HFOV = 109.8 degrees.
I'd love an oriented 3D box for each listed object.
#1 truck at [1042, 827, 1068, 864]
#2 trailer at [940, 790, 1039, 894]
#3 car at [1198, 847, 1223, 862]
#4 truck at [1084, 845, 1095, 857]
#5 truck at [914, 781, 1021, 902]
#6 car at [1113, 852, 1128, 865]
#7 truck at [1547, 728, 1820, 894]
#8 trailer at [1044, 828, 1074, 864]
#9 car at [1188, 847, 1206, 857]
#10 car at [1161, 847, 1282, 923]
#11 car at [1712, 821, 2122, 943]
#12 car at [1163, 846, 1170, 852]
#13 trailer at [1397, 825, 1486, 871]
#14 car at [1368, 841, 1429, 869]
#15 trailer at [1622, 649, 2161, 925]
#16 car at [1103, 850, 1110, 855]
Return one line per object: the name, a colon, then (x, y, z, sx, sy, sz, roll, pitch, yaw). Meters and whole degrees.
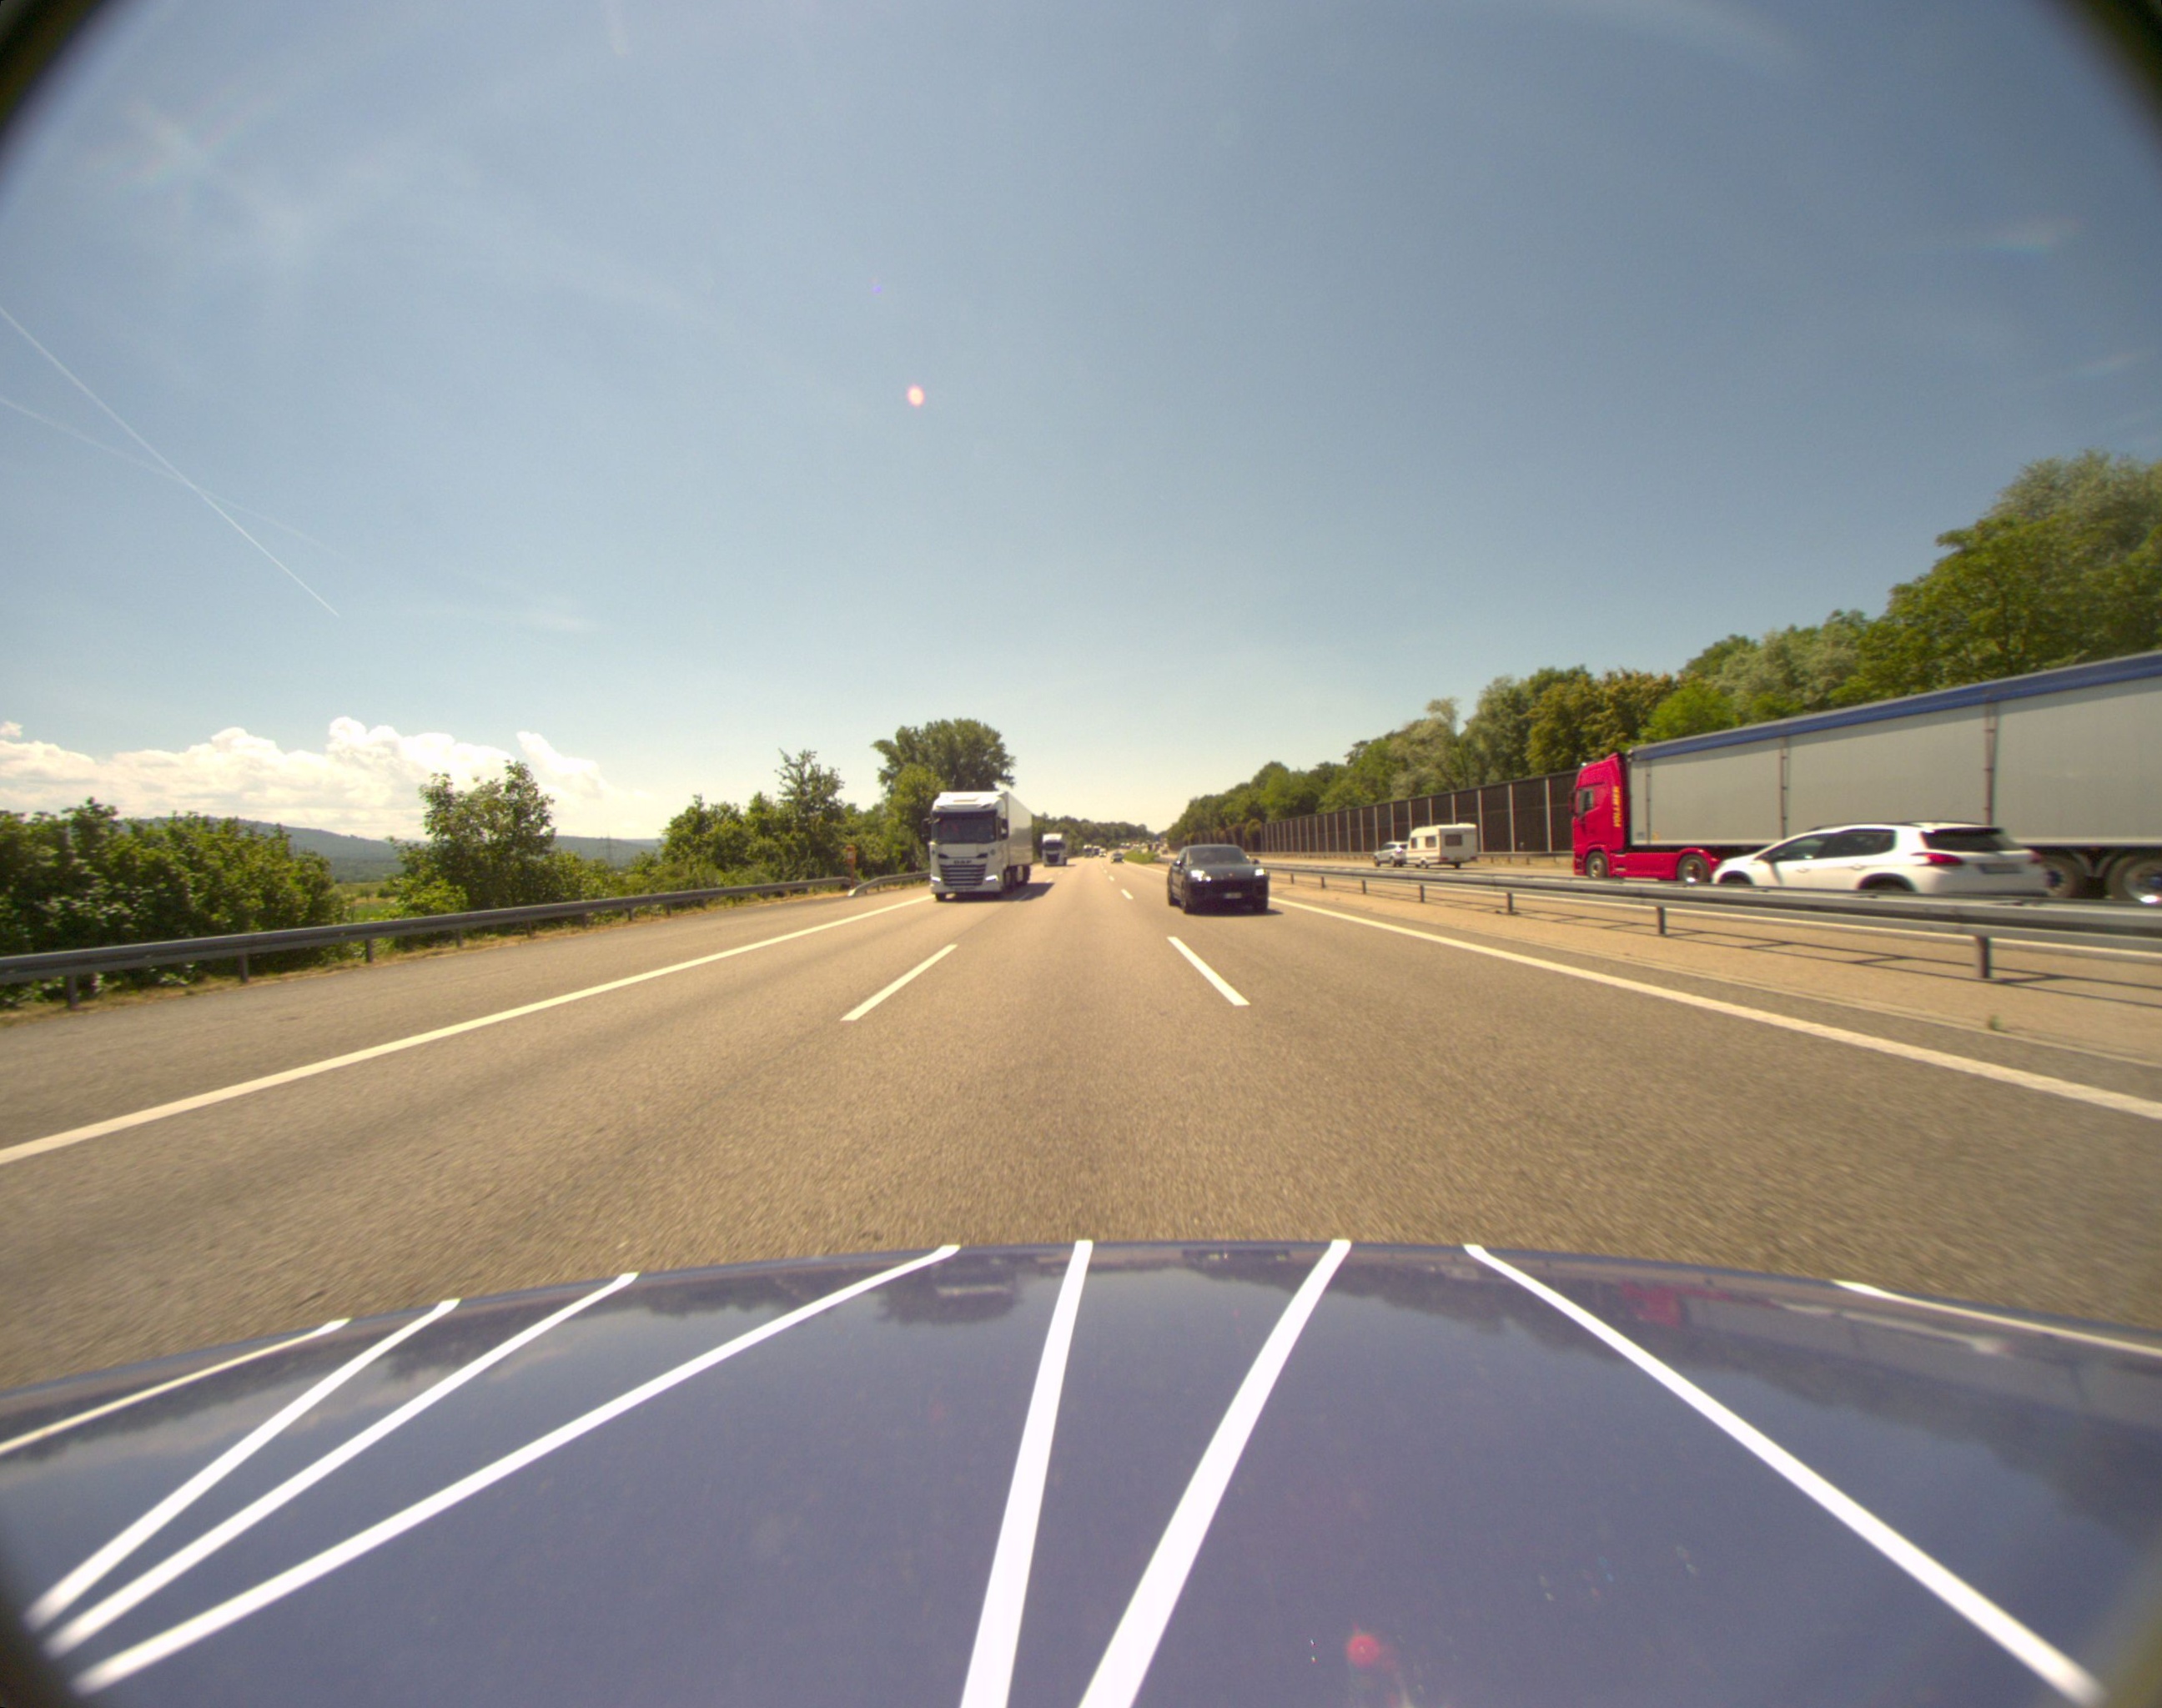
truck: (-3.219, -1.030, 95.727, 2.541, 4.446, 5.573, -2, 1, 4)
trailer: (-4.012, -0.486, 36.693, 2.966, 4.082, 12.532, -2, 0, 1)
car: (13.911, 0.051, 81.707, 1.904, 1.512, 4.418, -2, 0, 0)
truck: (2.847, -0.991, 249.331, 3.074, 3.617, 12.401, -2, 0, 2)
truck: (-4.132, -0.433, 29.149, 2.966, 4.082, 6.206, -2, 0, 1)
car: (5.728, 0.667, 109.640, 1.908, 1.717, 4.377, -2, 0, 5)
truck: (17.156, -1.083, 22.431, 2.364, 4.052, 7.152, -2, 0, 1)
trailer: (-2.790, -1.085, 102.282, 2.541, 4.446, 14.163, -2, 0, 4)
car: (18.925, -0.299, 123.730, 2.129, 1.513, 5.982, -2, 0, 2)
car: (3.432, 0.681, 19.808, 2.049, 1.615, 5.771, -2, 0, 0)
car: (12.648, 0.356, 12.014, 1.809, 1.535, 4.245, -2, 0, 0)
car: (29.269, -1.714, 260.338, 1.998, 2.002, 5.386, -2, 0, 2)
trailer: (20.826, -0.335, 44.286, 2.136, 2.462, 6.268, -2, 0, 0)
car: (20.745, 0.039, 49.885, 1.904, 1.701, 4.905, -2, 0, -1)
trailer: (17.088, -1.037, 15.285, 2.347, 4.052, 14.208, -2, 0, 1)
car: (8.126, -0.534, 242.729, 1.908, 1.717, 4.872, -2, 0, 5)
